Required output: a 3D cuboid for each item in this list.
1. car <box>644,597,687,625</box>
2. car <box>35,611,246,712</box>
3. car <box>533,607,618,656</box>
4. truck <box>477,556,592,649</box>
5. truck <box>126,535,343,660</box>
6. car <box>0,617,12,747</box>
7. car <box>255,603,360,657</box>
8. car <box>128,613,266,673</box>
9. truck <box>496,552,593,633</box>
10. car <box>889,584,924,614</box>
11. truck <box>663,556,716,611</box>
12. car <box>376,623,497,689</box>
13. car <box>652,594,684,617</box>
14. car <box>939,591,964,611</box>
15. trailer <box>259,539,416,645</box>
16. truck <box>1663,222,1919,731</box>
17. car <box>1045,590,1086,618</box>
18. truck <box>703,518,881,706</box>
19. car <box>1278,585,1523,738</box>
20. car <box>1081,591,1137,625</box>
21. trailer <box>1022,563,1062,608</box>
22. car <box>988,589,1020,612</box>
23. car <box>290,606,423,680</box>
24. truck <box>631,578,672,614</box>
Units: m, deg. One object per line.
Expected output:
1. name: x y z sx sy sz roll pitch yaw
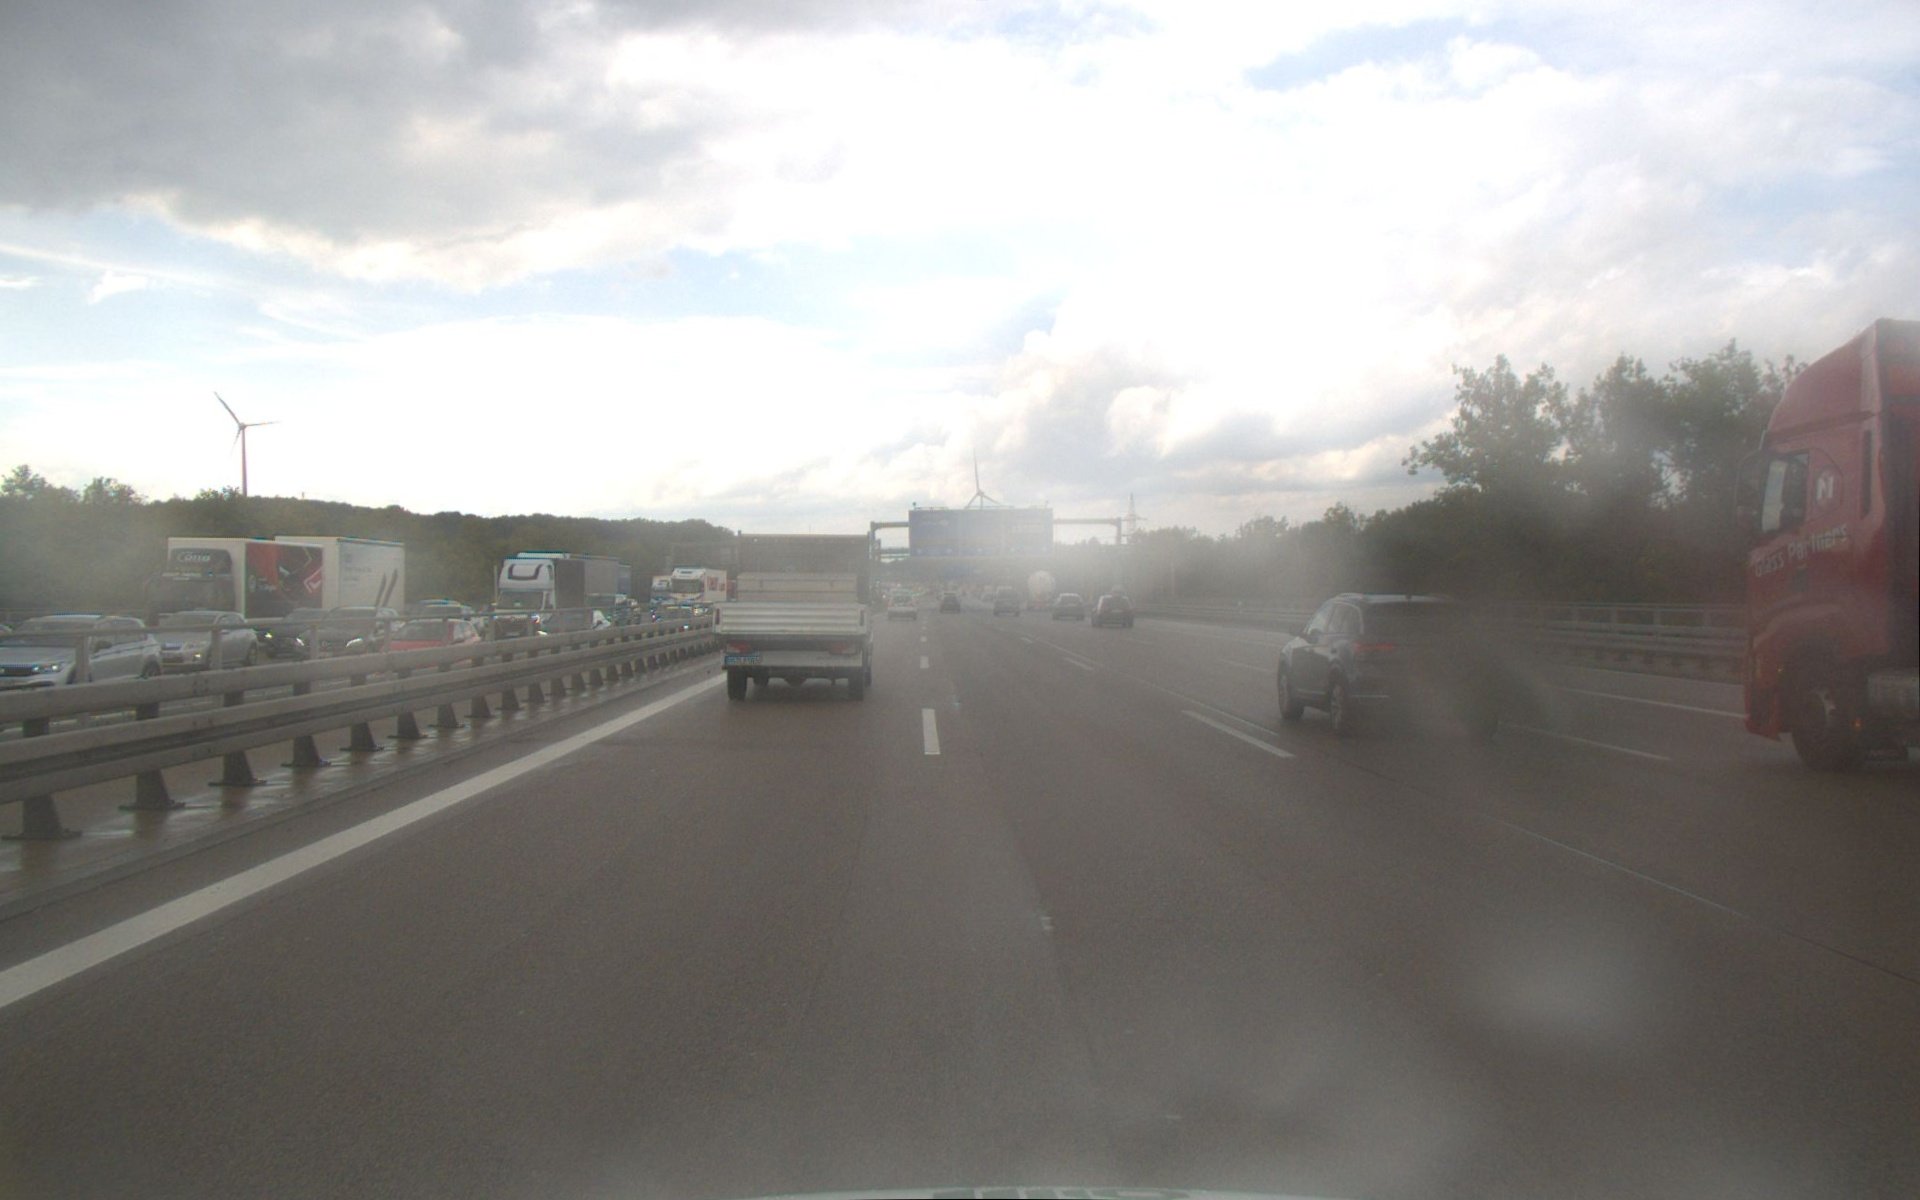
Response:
1. car: -17.823 0.656 100.232 1.784 1.652 4.697 -1 0 -1
2. car: -14.892 1.056 30.378 1.728 1.653 4.777 0 0 -4
3. car: -13.232 1.055 57.250 1.685 1.529 5.501 -1 0 -1
4. truck: -17.066 0.054 66.909 2.468 3.458 8.539 -1 0 -1
5. truck: -25.177 -0.108 58.169 3.160 3.978 10.280 1 0 -1
6. car: -11.797 0.947 17.026 1.794 1.477 3.999 0 0 -1
7. car: -20.423 0.893 51.929 1.685 1.562 4.085 -1 0 -1
8. car: -19.656 1.077 42.816 1.634 1.377 4.217 -1 0 -1
9. truck: -21.288 -0.389 85.192 3.134 4.002 7.572 1 0 -1
10. car: -3.137 -0.075 97.933 2.003 1.729 4.000 0 1 -1
11. truck: -21.712 -1.341 133.266 3.113 4.267 7.736 -1 1 -1
12. car: -12.492 1.302 39.721 1.541 1.377 4.383 -1 0 -1
13. car: -21.144 0.407 120.054 1.612 1.572 4.000 -1 1 0
14. car: -0.747 0.067 142.072 2.004 1.729 3.998 0 1 -3
15. trailer: -25.280 -0.338 67.753 3.153 4.028 8.849 1 0 -1
16. truck: 9.304 -0.957 10.039 3.088 4.073 15.632 0 1 -1
17. car: 6.748 0.252 106.104 2.005 1.729 5.003 0 1 -4
18. truck: -2.428 0.128 25.396 2.306 2.450 7.353 1 0 -4
19. car: 4.949 0.641 19.077 1.756 1.590 3.720 0 0 -2
20. car: 7.357 0.362 82.076 2.063 1.633 5.062 0 1 -4
21. trailer: 8.102 -1.440 164.801 3.264 4.249 11.837 1 0 0
22. car: 3.301 0.018 123.736 2.056 1.729 3.997 0 1 -4
23. car: -15.995 1.094 44.116 1.685 1.758 5.104 -1 0 -1
24. truck: -27.651 -0.381 148.370 2.466 3.038 7.019 -1 0 -2
